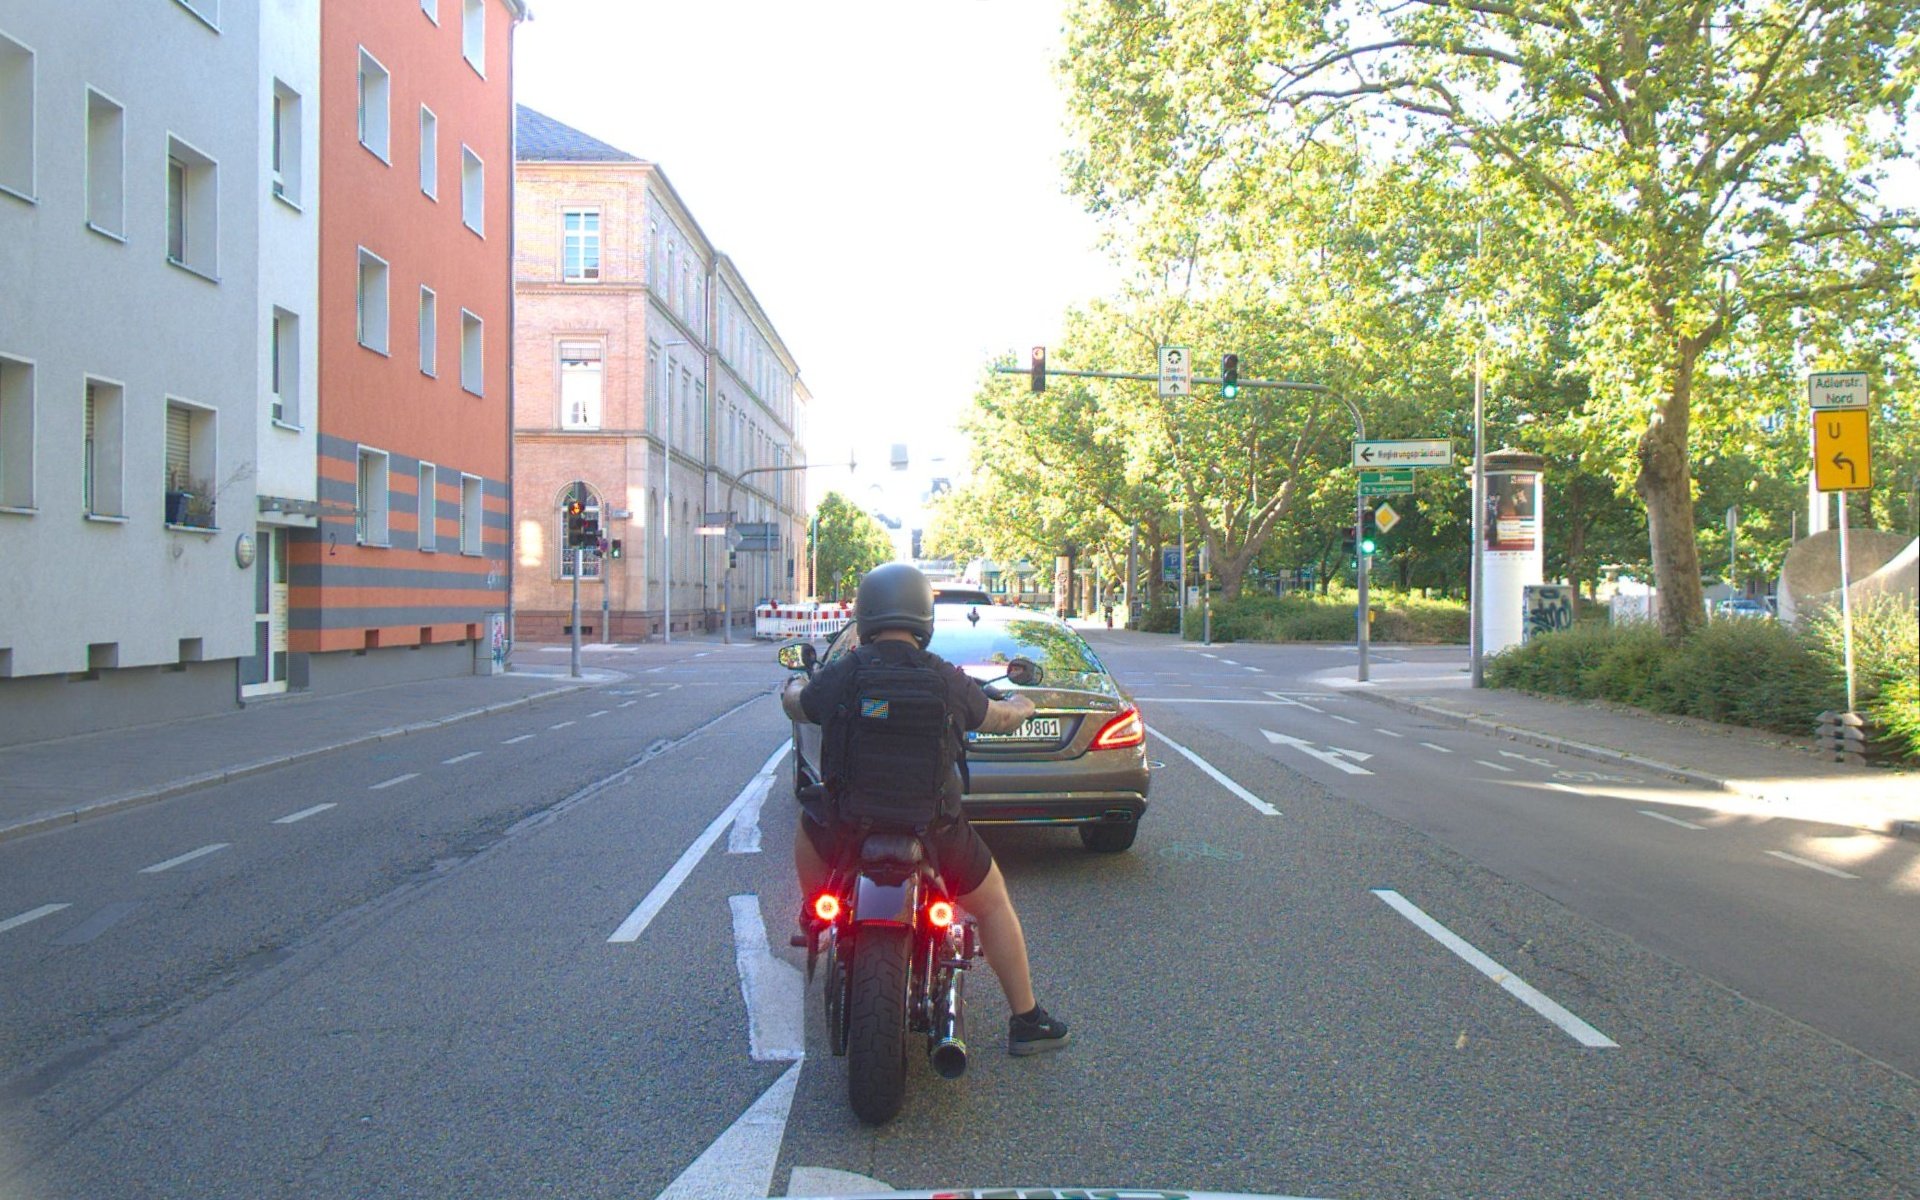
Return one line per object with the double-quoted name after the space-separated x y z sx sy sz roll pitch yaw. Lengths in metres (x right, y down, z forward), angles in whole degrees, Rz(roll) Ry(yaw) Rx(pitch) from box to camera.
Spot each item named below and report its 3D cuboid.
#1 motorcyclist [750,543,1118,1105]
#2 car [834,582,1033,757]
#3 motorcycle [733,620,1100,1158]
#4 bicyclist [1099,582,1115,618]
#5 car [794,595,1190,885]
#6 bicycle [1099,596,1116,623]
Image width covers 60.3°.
-0.079 0.651 5.245 1.039 1.610 0.908 1 0 -1 "motorcyclist"
-0.344 0.610 16.744 1.777 1.563 3.846 0 0 -3 "car"
-0.129 0.776 5.514 0.942 1.380 2.319 1 0 -1 "motorcycle"
6.718 -0.012 75.555 0.701 1.610 0.936 1 0 4 "bicyclist"
-0.032 0.704 10.651 1.867 1.466 4.280 0 0 -9 "car"
6.721 0.444 75.533 0.701 1.193 2.177 1 0 3 "bicycle"
